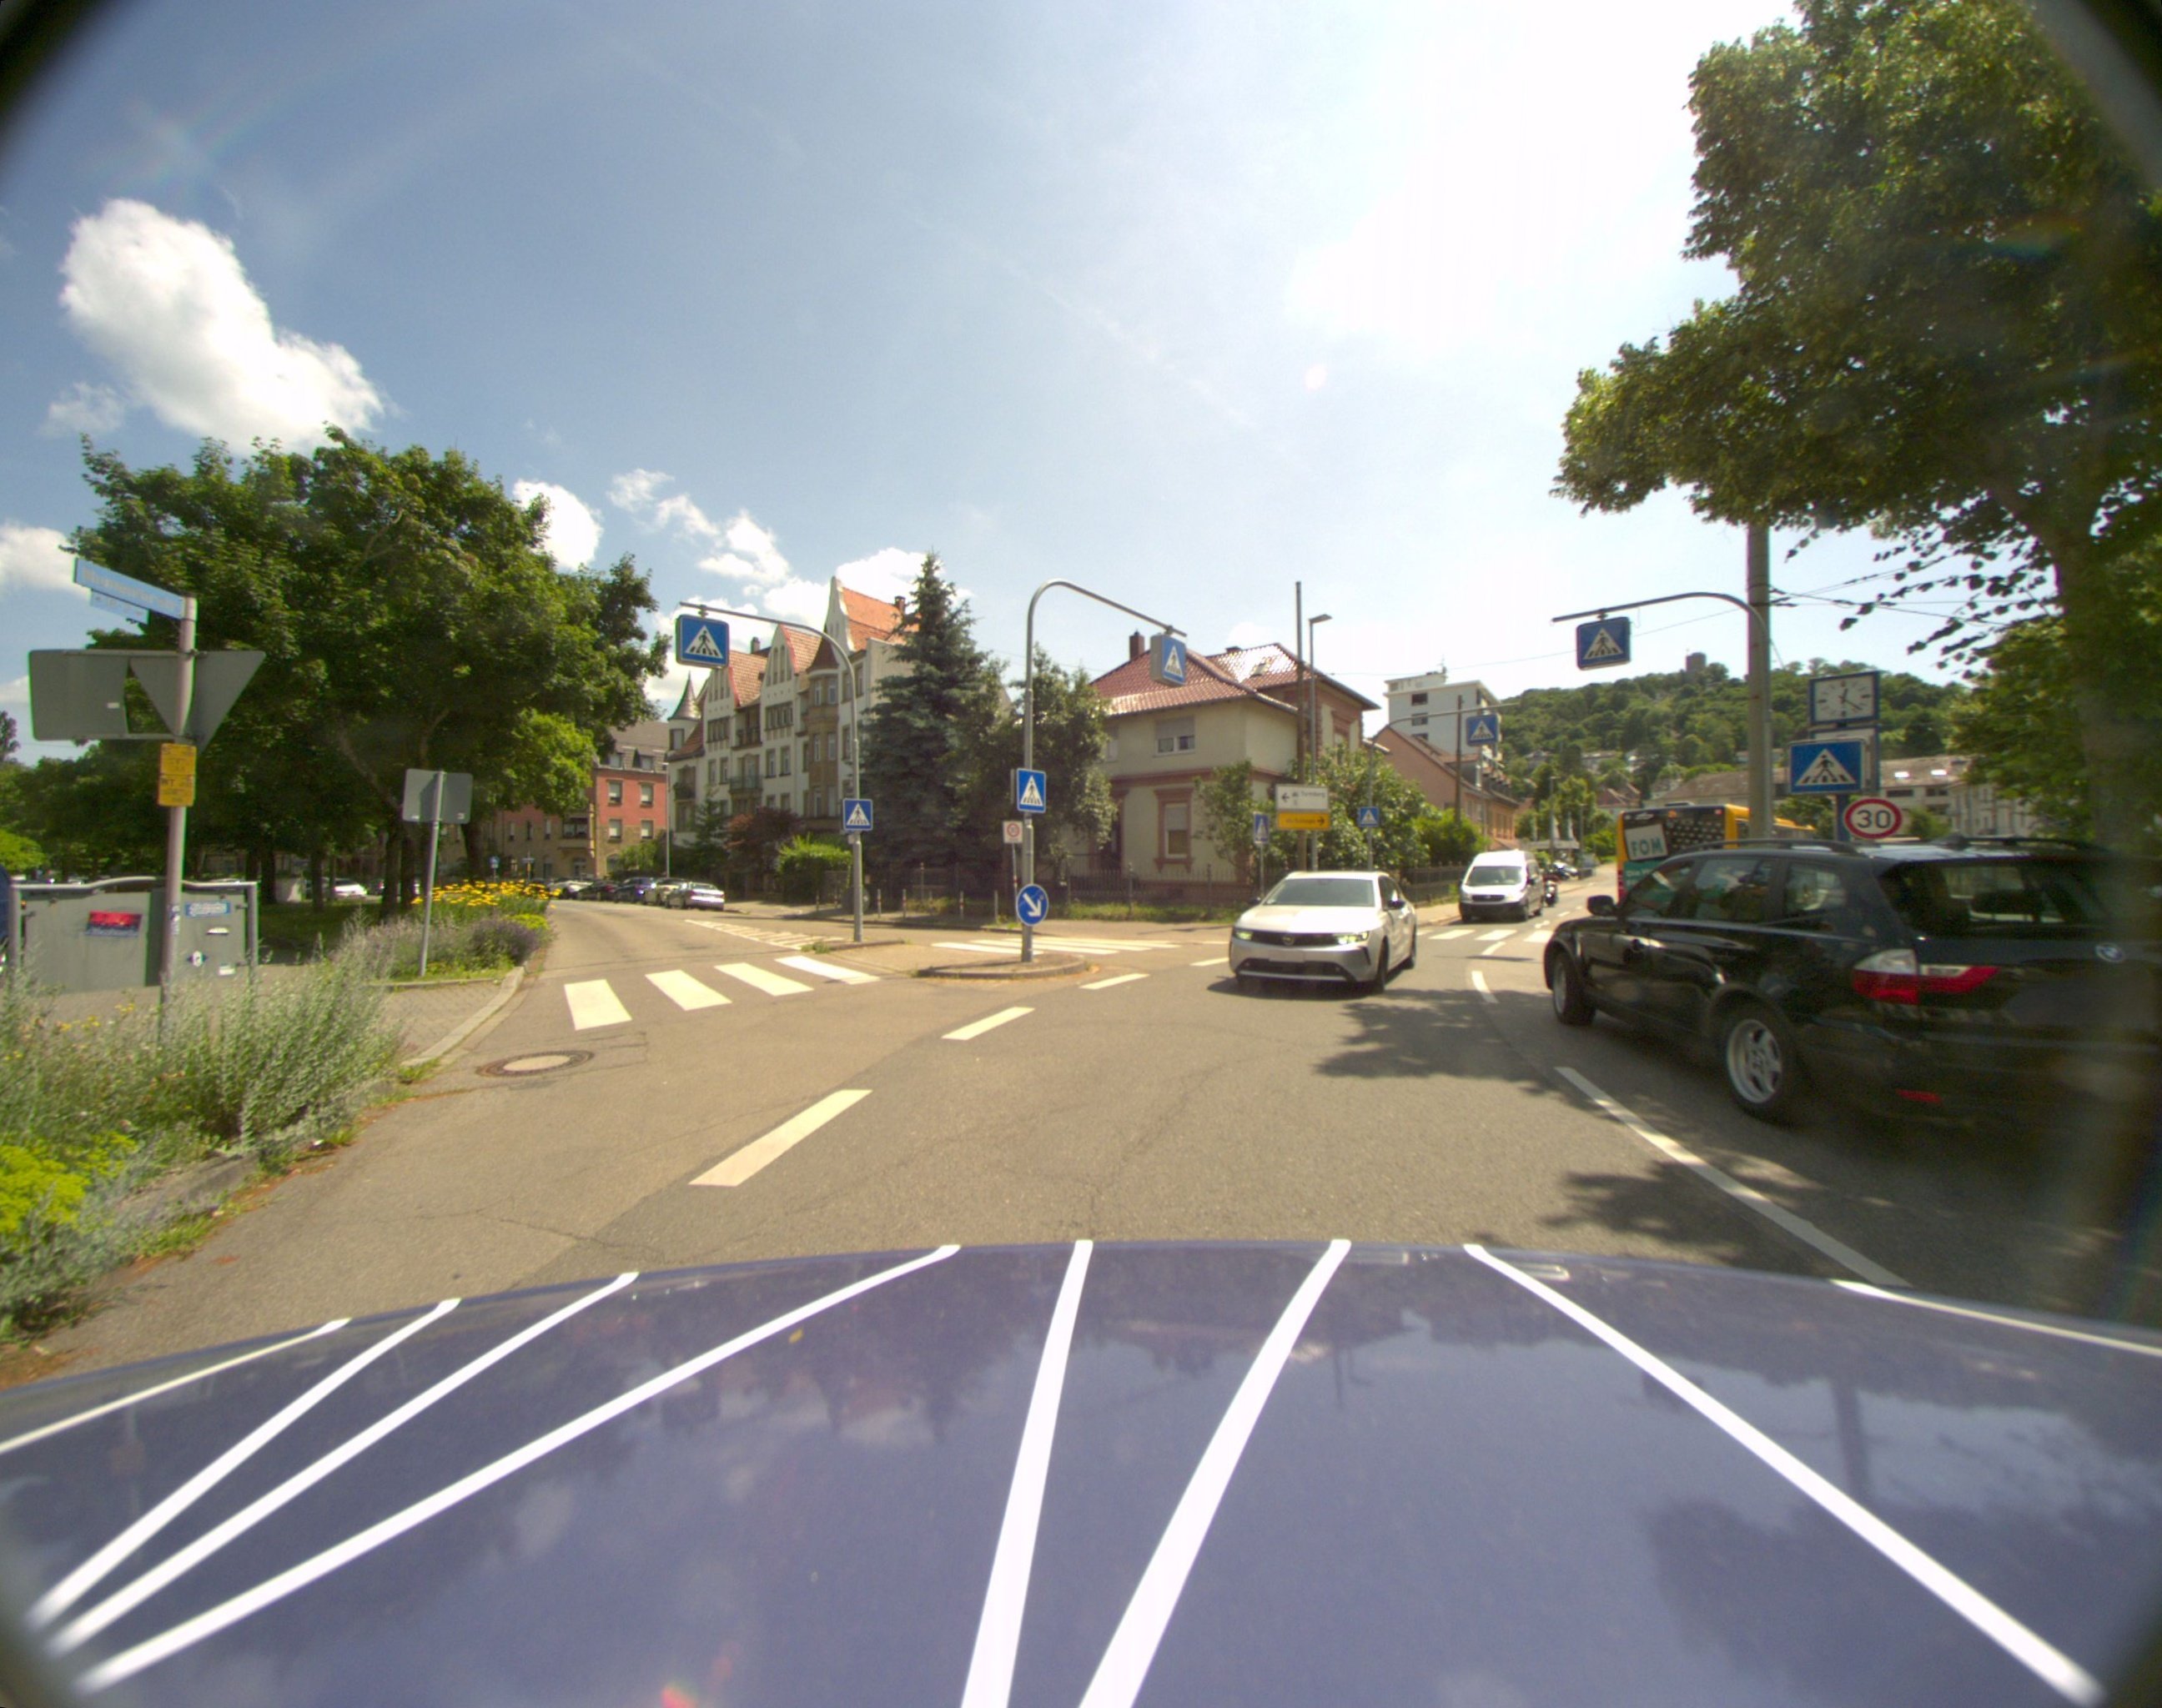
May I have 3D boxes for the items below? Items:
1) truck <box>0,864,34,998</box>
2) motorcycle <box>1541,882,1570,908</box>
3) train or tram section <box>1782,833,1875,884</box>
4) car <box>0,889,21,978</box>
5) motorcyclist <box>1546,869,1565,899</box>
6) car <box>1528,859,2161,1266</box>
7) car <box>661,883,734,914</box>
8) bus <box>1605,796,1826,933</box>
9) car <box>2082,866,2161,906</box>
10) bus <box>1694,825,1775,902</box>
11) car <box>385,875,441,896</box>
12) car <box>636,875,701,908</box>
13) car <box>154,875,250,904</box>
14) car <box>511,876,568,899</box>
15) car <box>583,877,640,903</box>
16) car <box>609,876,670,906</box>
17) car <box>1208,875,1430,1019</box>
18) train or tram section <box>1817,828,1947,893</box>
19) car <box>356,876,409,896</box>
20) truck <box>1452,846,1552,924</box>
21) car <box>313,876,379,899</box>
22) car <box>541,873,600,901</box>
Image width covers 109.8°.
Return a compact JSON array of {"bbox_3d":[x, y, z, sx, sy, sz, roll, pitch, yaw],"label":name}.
[{"bbox_3d":[-15.211,1.042,9.291,1.920,1.914,5.266,2,-3,-44],"label":"truck"},{"bbox_3d":[20.028,1.709,32.044,1.439,1.051,0.667,0,0,-42],"label":"motorcycle"},{"bbox_3d":[57.586,0.310,58.908,2.891,3.499,13.932,-1,-1,35],"label":"train or tram section"},{"bbox_3d":[-20.627,1.412,13.666,3.843,1.516,1.718,-1,-2,37],"label":"car"},{"bbox_3d":[19.998,1.250,32.039,0.556,1.235,0.539,0,0,-43],"label":"motorcyclist"},{"bbox_3d":[4.939,0.874,5.223,1.859,1.622,4.332,1,0,11],"label":"car"},{"bbox_3d":[-17.683,2.031,34.970,1.823,1.318,3.989,6,-5,-44],"label":"car"},{"bbox_3d":[19.233,0.330,22.650,10.880,3.277,2.701,1,-2,-38],"label":"bus"},{"bbox_3d":[41.994,1.247,30.057,1.840,1.473,3.881,-1,-1,36],"label":"car"},{"bbox_3d":[34.991,0.500,41.045,2.689,3.585,12.235,0,-1,38],"label":"bus"},{"bbox_3d":[-55.150,2.584,62.718,4.175,1.608,2.004,-1,0,27],"label":"car"},{"bbox_3d":[-21.101,1.909,38.827,1.779,1.506,3.989,7,-6,-44],"label":"car"},{"bbox_3d":[-61.654,2.476,53.378,4.007,1.849,1.920,0,0,-33],"label":"car"},{"bbox_3d":[-37.070,2.288,52.009,3.864,1.381,1.780,0,-5,33],"label":"car"},{"bbox_3d":[-28.588,2.190,46.207,3.988,1.379,1.780,-1,-6,42],"label":"car"},{"bbox_3d":[-24.703,2.052,42.440,3.988,1.506,1.780,-1,-6,44],"label":"car"},{"bbox_3d":[3.387,1.048,10.201,1.797,1.457,4.180,-2,-2,32],"label":"car"},{"bbox_3d":[49.554,0.372,47.533,2.891,3.499,13.932,-1,-1,35],"label":"train or tram section"},{"bbox_3d":[-59.651,2.686,64.876,4.175,1.608,2.004,-1,0,27],"label":"car"},{"bbox_3d":[13.652,0.984,24.453,2.016,2.235,5.420,-4,-3,37],"label":"truck"},{"bbox_3d":[-53.939,2.460,55.786,4.175,1.608,2.003,-1,0,23],"label":"car"},{"bbox_3d":[-33.263,2.170,49.487,3.864,1.603,1.780,0,-5,34],"label":"car"}]
